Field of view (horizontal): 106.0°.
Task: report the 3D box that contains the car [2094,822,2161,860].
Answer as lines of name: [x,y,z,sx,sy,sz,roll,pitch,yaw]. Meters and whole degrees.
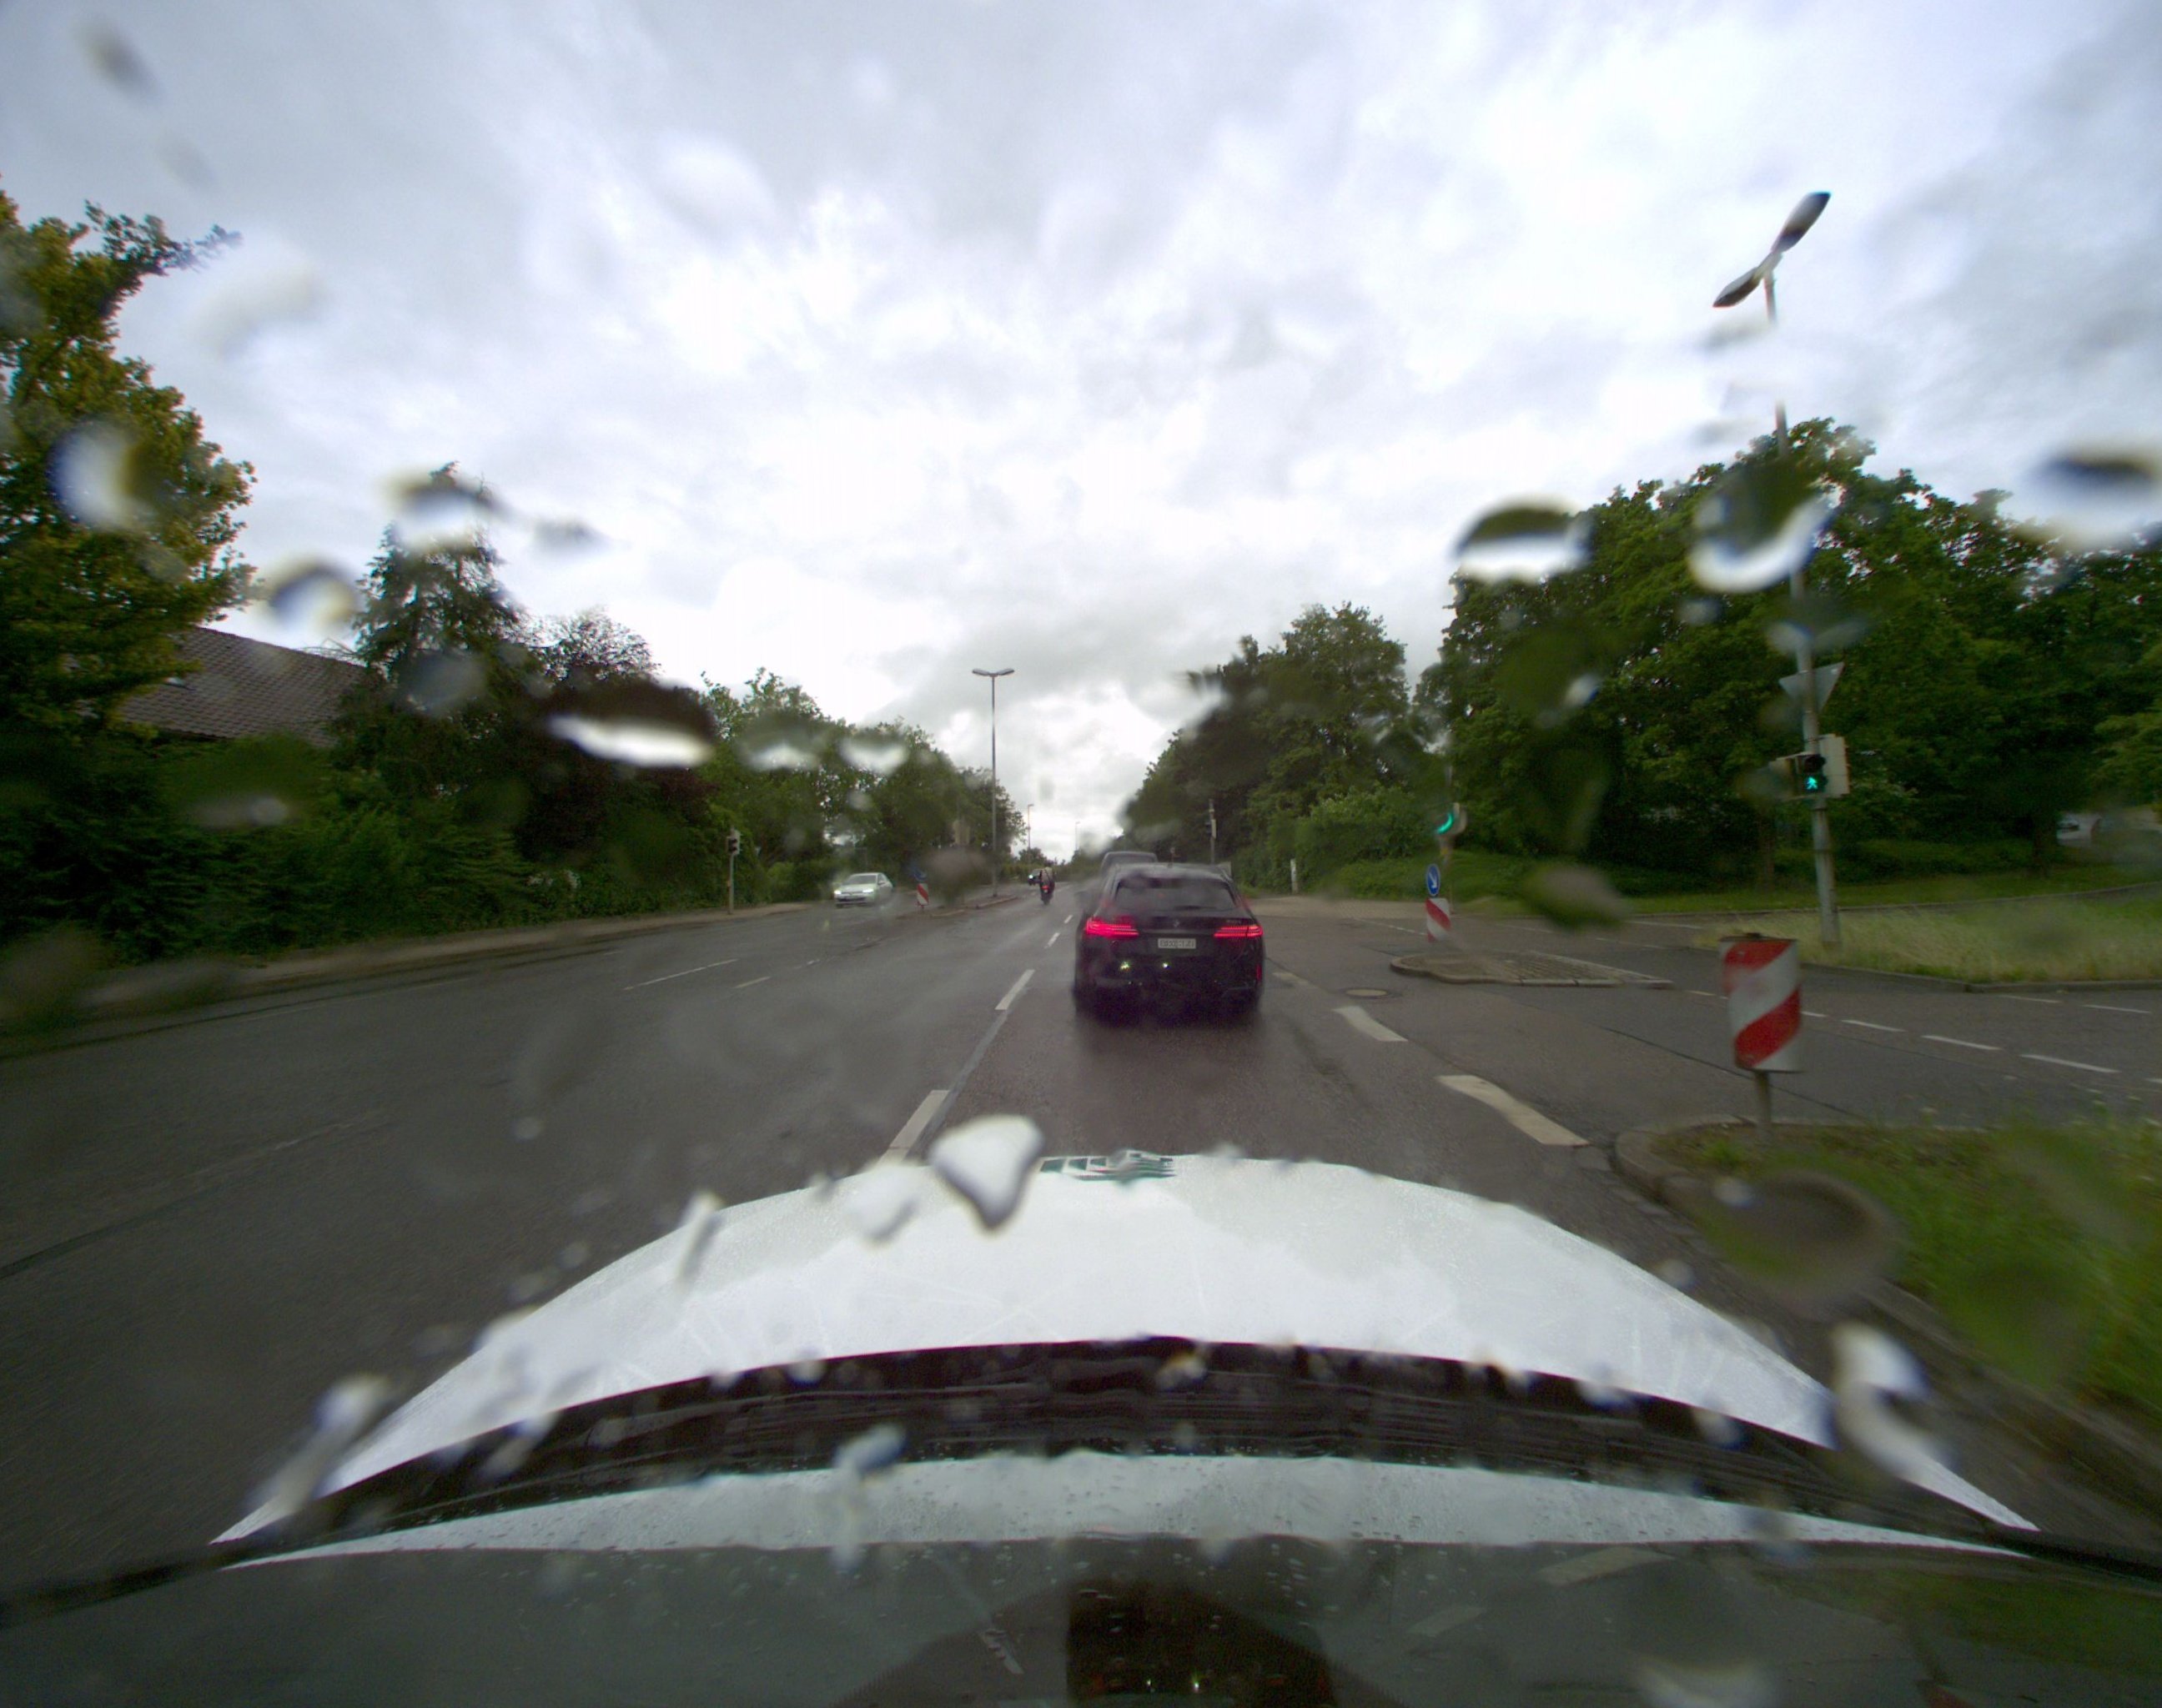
car: [47.098,-0.592,35.700,3.992,1.571,1.820,-2,-1,-14]

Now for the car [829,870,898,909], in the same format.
car: [-9.563,1.539,36.157,1.721,1.485,4.159,-3,-1,2]

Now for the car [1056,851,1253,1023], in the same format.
car: [0.761,0.764,9.166,1.757,1.536,3.675,0,-1,3]

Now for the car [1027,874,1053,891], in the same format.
car: [-3.906,2.720,78.123,2.017,1.563,3.878,-2,-1,2]

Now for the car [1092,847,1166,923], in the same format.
car: [1.258,0.737,21.483,1.759,1.810,3.908,0,0,3]

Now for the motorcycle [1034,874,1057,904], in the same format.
motorcycle: [-1.350,1.342,31.457,0.738,1.119,1.427,0,0,3]

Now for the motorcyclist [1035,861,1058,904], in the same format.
motorcyclist: [-1.336,1.104,31.510,0.842,1.647,0.468,-1,-1,2]

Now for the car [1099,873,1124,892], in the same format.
car: [2.569,2.320,67.755,2.006,1.415,4.490,0,0,3]
